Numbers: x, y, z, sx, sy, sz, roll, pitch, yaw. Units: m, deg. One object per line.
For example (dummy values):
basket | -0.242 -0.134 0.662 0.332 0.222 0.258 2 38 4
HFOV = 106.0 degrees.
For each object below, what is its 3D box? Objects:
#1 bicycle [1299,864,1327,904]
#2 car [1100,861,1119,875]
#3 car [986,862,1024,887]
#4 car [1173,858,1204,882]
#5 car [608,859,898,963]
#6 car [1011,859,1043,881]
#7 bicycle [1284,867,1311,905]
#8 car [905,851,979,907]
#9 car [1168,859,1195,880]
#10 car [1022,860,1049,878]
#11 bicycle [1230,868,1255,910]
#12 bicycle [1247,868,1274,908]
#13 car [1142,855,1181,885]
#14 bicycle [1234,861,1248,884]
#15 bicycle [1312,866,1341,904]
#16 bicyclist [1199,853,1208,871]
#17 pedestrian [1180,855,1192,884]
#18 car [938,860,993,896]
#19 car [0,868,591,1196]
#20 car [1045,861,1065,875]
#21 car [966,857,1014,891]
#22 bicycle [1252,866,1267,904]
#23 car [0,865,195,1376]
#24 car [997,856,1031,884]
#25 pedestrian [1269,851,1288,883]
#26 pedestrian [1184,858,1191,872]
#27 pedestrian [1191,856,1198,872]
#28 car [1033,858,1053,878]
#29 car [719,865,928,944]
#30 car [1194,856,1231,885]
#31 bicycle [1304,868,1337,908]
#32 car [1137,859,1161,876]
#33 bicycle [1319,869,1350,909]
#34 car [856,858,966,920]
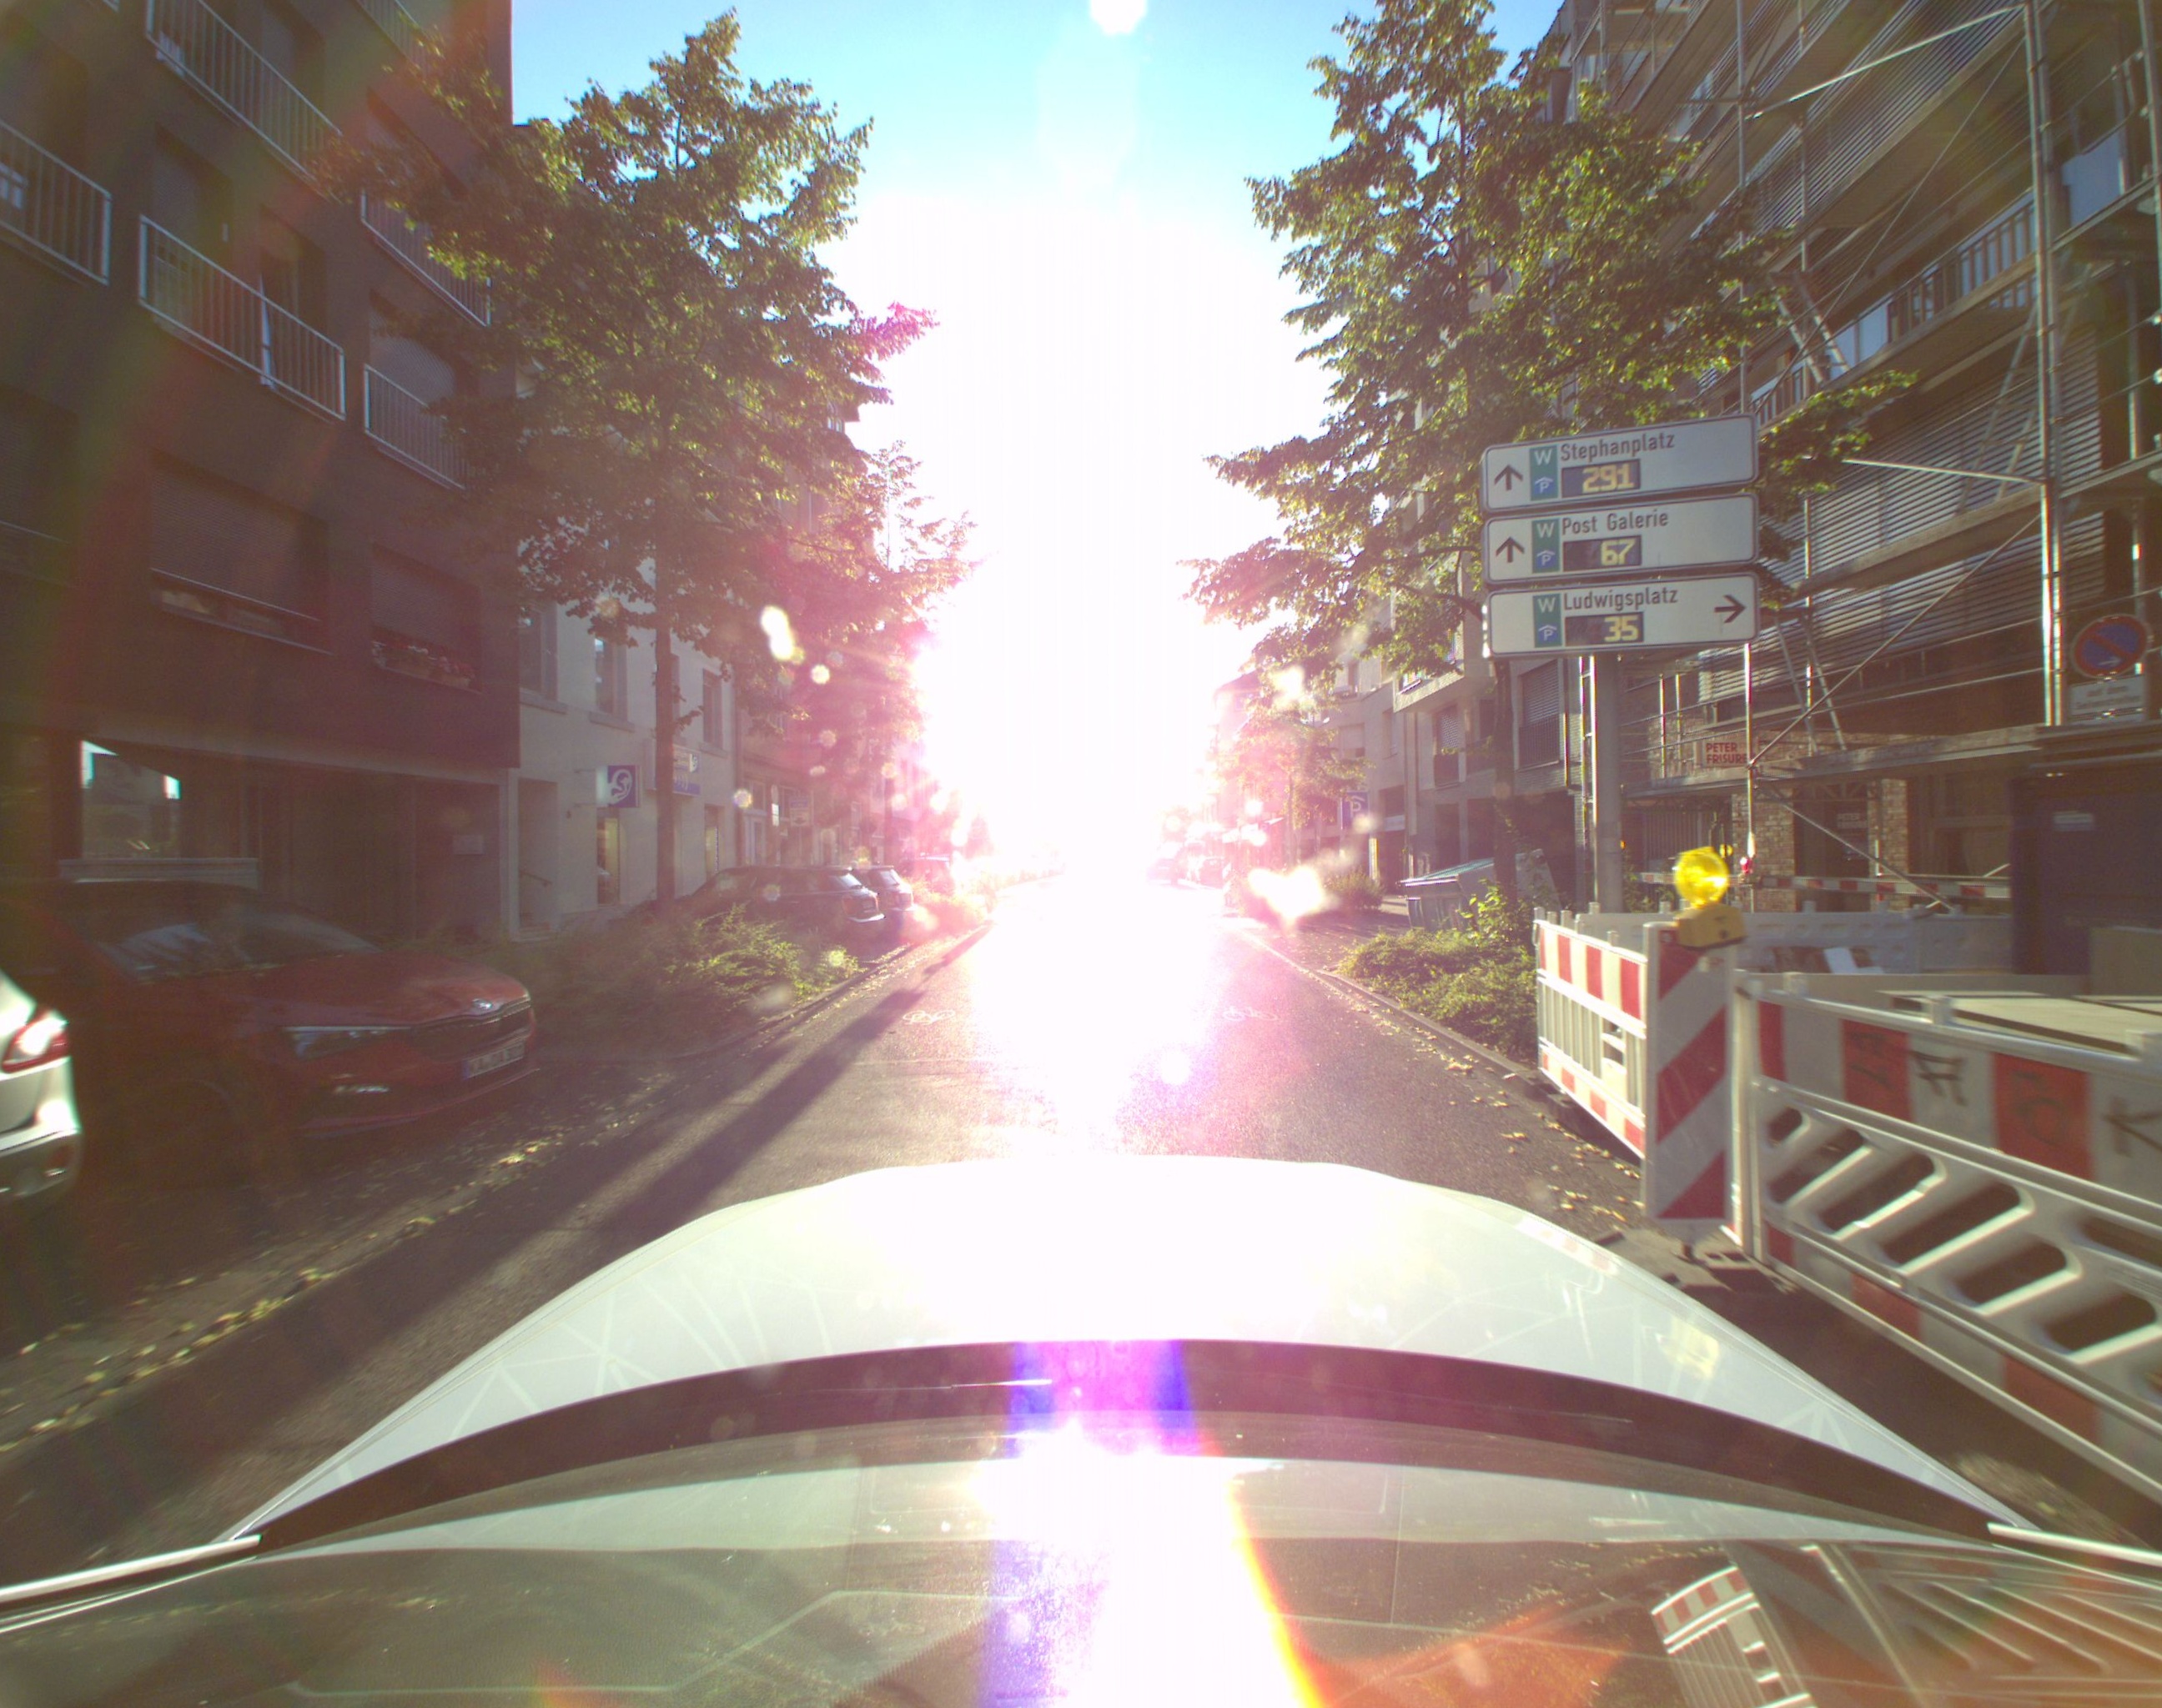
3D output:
bicycle | 7.021 0.897 24.738 0.380 1.189 1.522 0 -1 -1
car | 3.021 1.435 85.249 1.876 1.415 4.328 0 -1 3
car | -4.718 1.250 50.847 1.706 1.440 4.312 -3 -1 2
car | 7.011 1.038 53.601 1.627 1.424 3.759 -2 -1 2
car | -5.136 0.864 13.124 3.877 1.517 1.858 -1 0 3
car | -4.168 1.239 63.685 1.819 1.556 5.140 -3 -1 3
bicycle | 6.561 0.947 24.711 0.380 1.100 1.522 -1 -1 -1
car | -4.783 0.839 28.727 1.899 1.728 4.698 -2 -1 -2
car | 7.519 1.148 61.241 1.696 1.436 3.934 -2 -1 3
car | -3.839 1.265 69.742 1.820 1.439 4.556 -3 -1 2
bicycle | 4.523 0.969 22.874 0.380 1.100 1.522 -1 -1 0
bicycle | 5.101 0.960 23.205 0.380 1.100 1.522 -1 -3 -1
car | 4.674 0.915 47.866 1.987 1.655 4.677 1 0 3
bicycle | 9.007 1.019 45.848 0.395 1.234 1.825 -2 -1 0
bicycle | 7.452 0.935 24.750 0.380 1.100 1.522 -1 -1 -1
bicyclist | 11.379 0.744 75.813 0.648 1.702 1.095 -1 -1 0
pedestrian | 6.103 0.913 47.321 0.443 1.665 0.561 -2 -1 -23
car | -5.263 1.076 37.602 1.766 1.515 3.953 -1 0 3
car | -5.542 0.895 4.782 4.195 1.516 1.761 -1 -1 -1
car | -2.664 1.429 85.073 1.826 1.328 4.125 -1 0 2
car | -4.630 1.013 42.019 1.766 1.633 4.241 -1 0 3
bicycle | 5.474 0.923 24.907 0.368 1.108 1.529 -2 -1 14
car | -5.294 0.828 2.314 3.807 1.585 1.744 0 -1 5
car | -4.626 1.090 57.188 1.821 1.810 5.348 -3 0 1
pedestrian | 10.545 0.709 43.473 0.807 1.647 0.606 -3 -2 2
pedestrian | 11.449 1.174 87.631 0.685 1.559 0.863 -1 -1 2
pedestrian | 12.209 1.084 87.418 0.684 1.722 0.718 -2 -1 8
car | -3.670 1.347 78.829 1.827 1.854 4.122 -1 -1 -1
car | -4.831 0.927 15.560 3.381 1.392 1.689 -1 0 4
car | 7.518 0.929 46.626 1.627 1.553 2.694 -2 -1 0
bicycle | 6.834 0.959 23.310 0.381 1.100 1.521 -1 -1 -4
car | 6.011 1.216 72.604 1.914 1.415 4.551 1 -1 3
bicycle | 7.405 1.012 23.819 0.380 1.100 1.522 -1 -1 -1
car | -4.730 0.955 22.938 2.686 1.520 1.571 -3 0 -1
